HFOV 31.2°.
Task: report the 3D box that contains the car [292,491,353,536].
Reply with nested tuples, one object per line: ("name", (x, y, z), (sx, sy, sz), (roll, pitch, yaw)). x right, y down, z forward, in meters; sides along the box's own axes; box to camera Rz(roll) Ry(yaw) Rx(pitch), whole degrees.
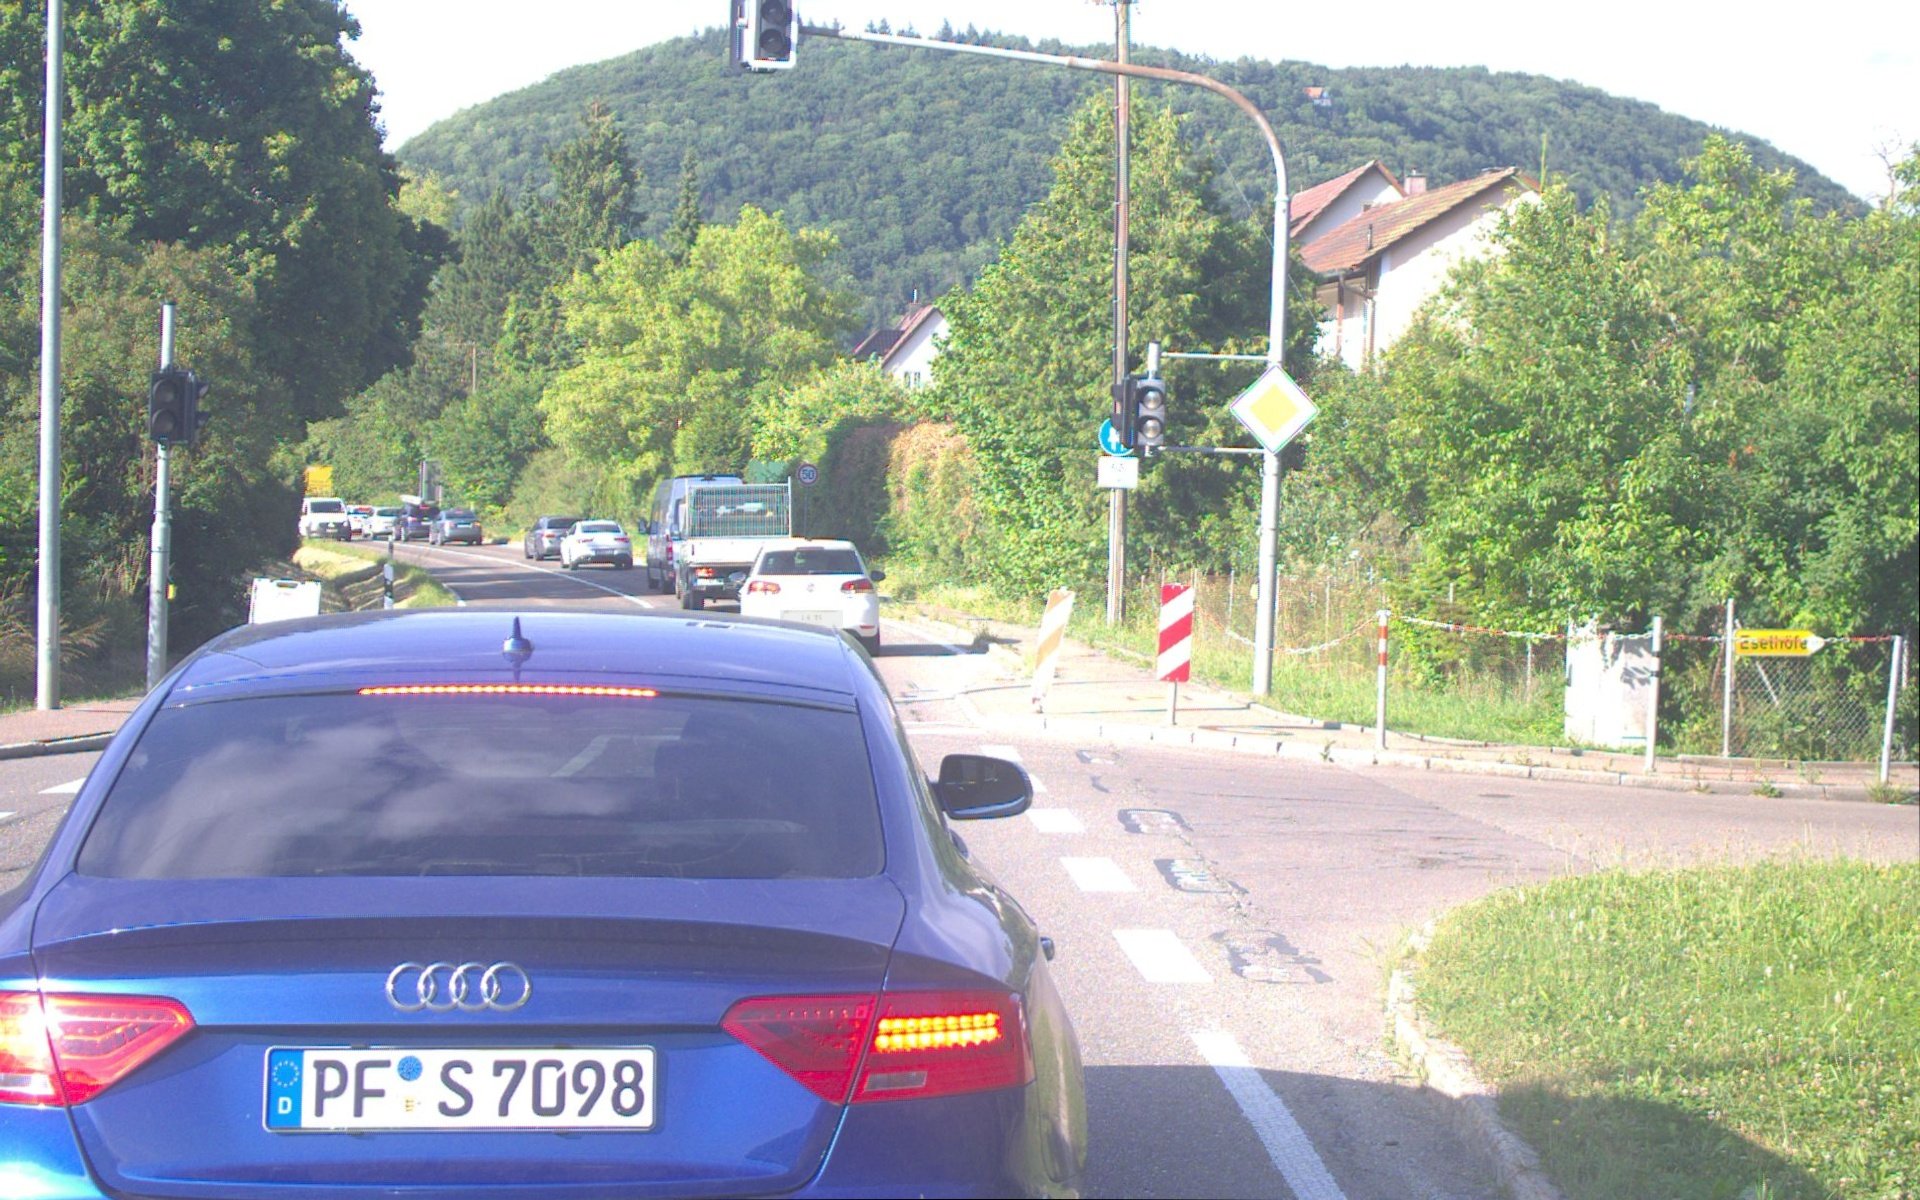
("car", (-27.806, -3.764, 149.819), (1.993, 1.897, 5.255), (-1, 2, -17))

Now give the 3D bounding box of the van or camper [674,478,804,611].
("van or camper", (-4.199, -1.069, 64.609), (2.179, 2.377, 5.371), (0, 2, -6))

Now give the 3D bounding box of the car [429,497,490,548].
("car", (-20.214, -3.136, 138.808), (1.993, 2.007, 4.001), (0, 2, -15))

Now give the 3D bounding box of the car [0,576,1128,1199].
("car", (-0.781, 0.696, 6.471), (1.829, 1.404, 4.227), (-1, 1, -2))

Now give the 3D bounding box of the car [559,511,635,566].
("car", (-10.700, -1.820, 101.110), (1.819, 1.546, 4.001), (0, 2, -12))

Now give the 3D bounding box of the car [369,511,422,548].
("car", (-25.709, -3.203, 156.466), (1.941, 1.678, 4.001), (-1, 1, -16))

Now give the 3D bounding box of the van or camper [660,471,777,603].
("van or camper", (-5.578, -1.464, 78.650), (2.414, 2.894, 6.133), (0, 2, -6))

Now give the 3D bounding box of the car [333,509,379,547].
("car", (-29.017, -3.465, 165.163), (1.748, 1.776, 4.001), (-1, 1, -16))

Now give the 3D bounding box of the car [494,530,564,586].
("car", (-14.145, -1.399, 112.613), (1.796, 1.787, 4.001), (-1, 1, -14))

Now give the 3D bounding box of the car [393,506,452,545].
("car", (-23.131, -3.215, 147.935), (2.040, 1.678, 4.001), (0, 2, -16))

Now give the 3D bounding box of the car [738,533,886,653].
("car", (-1.888, -0.124, 44.270), (1.771, 1.410, 4.174), (2, 1, -2))
